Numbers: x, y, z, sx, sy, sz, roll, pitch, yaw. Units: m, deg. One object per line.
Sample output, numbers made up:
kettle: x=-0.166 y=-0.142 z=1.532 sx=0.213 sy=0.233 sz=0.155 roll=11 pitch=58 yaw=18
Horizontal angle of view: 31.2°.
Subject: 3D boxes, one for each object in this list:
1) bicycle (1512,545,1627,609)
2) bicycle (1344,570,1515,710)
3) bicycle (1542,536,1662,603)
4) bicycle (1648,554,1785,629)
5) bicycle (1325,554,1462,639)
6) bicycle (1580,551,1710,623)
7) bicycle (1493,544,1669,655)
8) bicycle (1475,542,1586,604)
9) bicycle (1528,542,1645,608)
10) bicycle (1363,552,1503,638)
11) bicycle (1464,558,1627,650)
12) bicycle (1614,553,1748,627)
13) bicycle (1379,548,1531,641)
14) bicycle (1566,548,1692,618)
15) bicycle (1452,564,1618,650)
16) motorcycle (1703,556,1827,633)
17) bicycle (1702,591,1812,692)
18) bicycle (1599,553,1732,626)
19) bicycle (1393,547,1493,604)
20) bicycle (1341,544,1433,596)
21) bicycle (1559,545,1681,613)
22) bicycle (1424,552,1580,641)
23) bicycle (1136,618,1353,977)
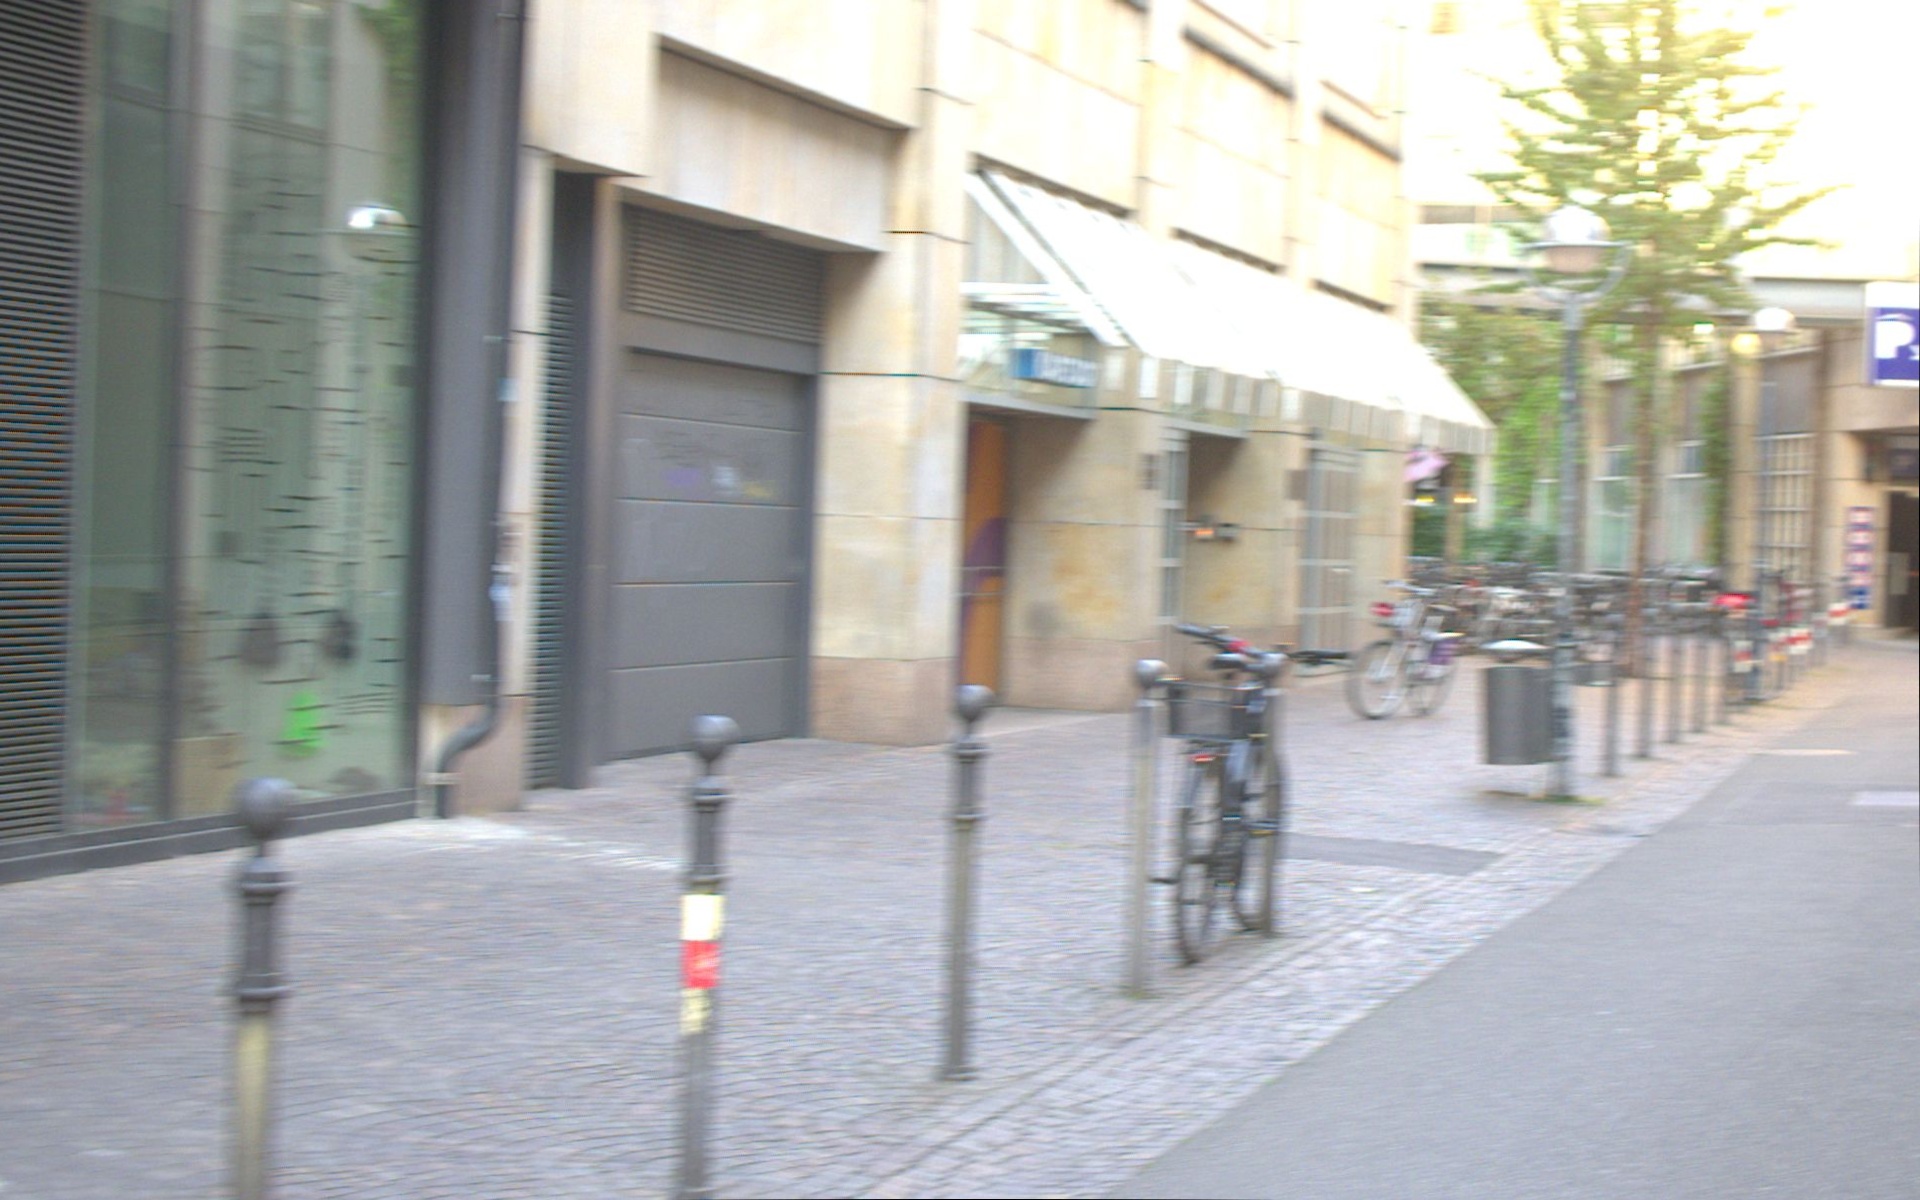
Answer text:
bicycle: x=11.257 y=-0.423 z=63.510 sx=1.994 sy=1.178 sz=0.694 roll=0 pitch=1 yaw=-1
bicycle: x=3.905 y=0.314 z=28.514 sx=0.695 sy=1.108 sz=1.773 roll=2 pitch=1 yaw=33
bicycle: x=11.387 y=-0.541 z=61.037 sx=1.994 sy=1.178 sz=0.694 roll=0 pitch=1 yaw=-1
bicycle: x=11.954 y=-0.137 z=54.347 sx=1.994 sy=1.178 sz=0.696 roll=0 pitch=1 yaw=-1
bicycle: x=6.402 y=-0.057 z=50.880 sx=1.913 sy=1.178 sz=0.696 roll=2 pitch=1 yaw=1
bicycle: x=11.454 y=-0.223 z=57.528 sx=1.994 sy=1.178 sz=0.803 roll=0 pitch=1 yaw=-1
bicycle: x=7.439 y=-0.013 z=41.242 sx=1.913 sy=1.256 sz=0.808 roll=2 pitch=1 yaw=-2
bicycle: x=10.964 y=-0.526 z=66.084 sx=1.994 sy=1.178 sz=0.694 roll=0 pitch=1 yaw=-1
bicycle: x=11.358 y=-0.455 z=62.348 sx=1.994 sy=1.178 sz=0.694 roll=0 pitch=1 yaw=-1
bicycle: x=6.860 y=-0.080 z=49.954 sx=1.913 sy=1.178 sz=0.696 roll=2 pitch=1 yaw=1
bicycle: x=7.436 y=0.046 z=43.694 sx=1.913 sy=1.098 sz=0.696 roll=2 pitch=1 yaw=-2
bicycle: x=11.600 y=-0.169 z=55.364 sx=1.994 sy=1.178 sz=0.696 roll=0 pitch=1 yaw=-1
bicycle: x=6.636 y=-0.077 z=46.146 sx=1.913 sy=1.178 sz=0.696 roll=2 pitch=1 yaw=1
bicycle: x=11.475 y=-0.293 z=59.048 sx=1.994 sy=1.178 sz=0.803 roll=0 pitch=1 yaw=-1
bicycle: x=7.156 y=0.082 z=42.820 sx=1.913 sy=0.991 sz=0.696 roll=2 pitch=1 yaw=-2
motorcycle: x=12.277 y=-0.086 z=52.454 sx=1.746 sy=1.151 sz=0.594 roll=0 pitch=1 yaw=1
bicycle: x=7.990 y=0.406 z=34.427 sx=0.506 sy=0.963 sz=1.691 roll=2 pitch=1 yaw=33
bicycle: x=11.543 y=-0.172 z=56.308 sx=1.994 sy=1.178 sz=0.803 roll=0 pitch=1 yaw=-1
bicycle: x=10.149 y=-0.516 z=72.301 sx=1.994 sy=1.178 sz=0.694 roll=0 pitch=1 yaw=-1
bicycle: x=9.689 y=-0.680 z=78.017 sx=1.994 sy=1.178 sz=0.694 roll=0 pitch=1 yaw=-1
bicycle: x=11.527 y=-0.376 z=60.067 sx=1.994 sy=1.178 sz=0.694 roll=0 pitch=1 yaw=-1
bicycle: x=7.097 y=-0.054 z=45.051 sx=1.913 sy=1.098 sz=0.696 roll=2 pitch=1 yaw=1
bicycle: x=1.046 y=0.658 z=12.323 sx=0.410 sy=1.128 sz=1.930 roll=2 pitch=1 yaw=15
